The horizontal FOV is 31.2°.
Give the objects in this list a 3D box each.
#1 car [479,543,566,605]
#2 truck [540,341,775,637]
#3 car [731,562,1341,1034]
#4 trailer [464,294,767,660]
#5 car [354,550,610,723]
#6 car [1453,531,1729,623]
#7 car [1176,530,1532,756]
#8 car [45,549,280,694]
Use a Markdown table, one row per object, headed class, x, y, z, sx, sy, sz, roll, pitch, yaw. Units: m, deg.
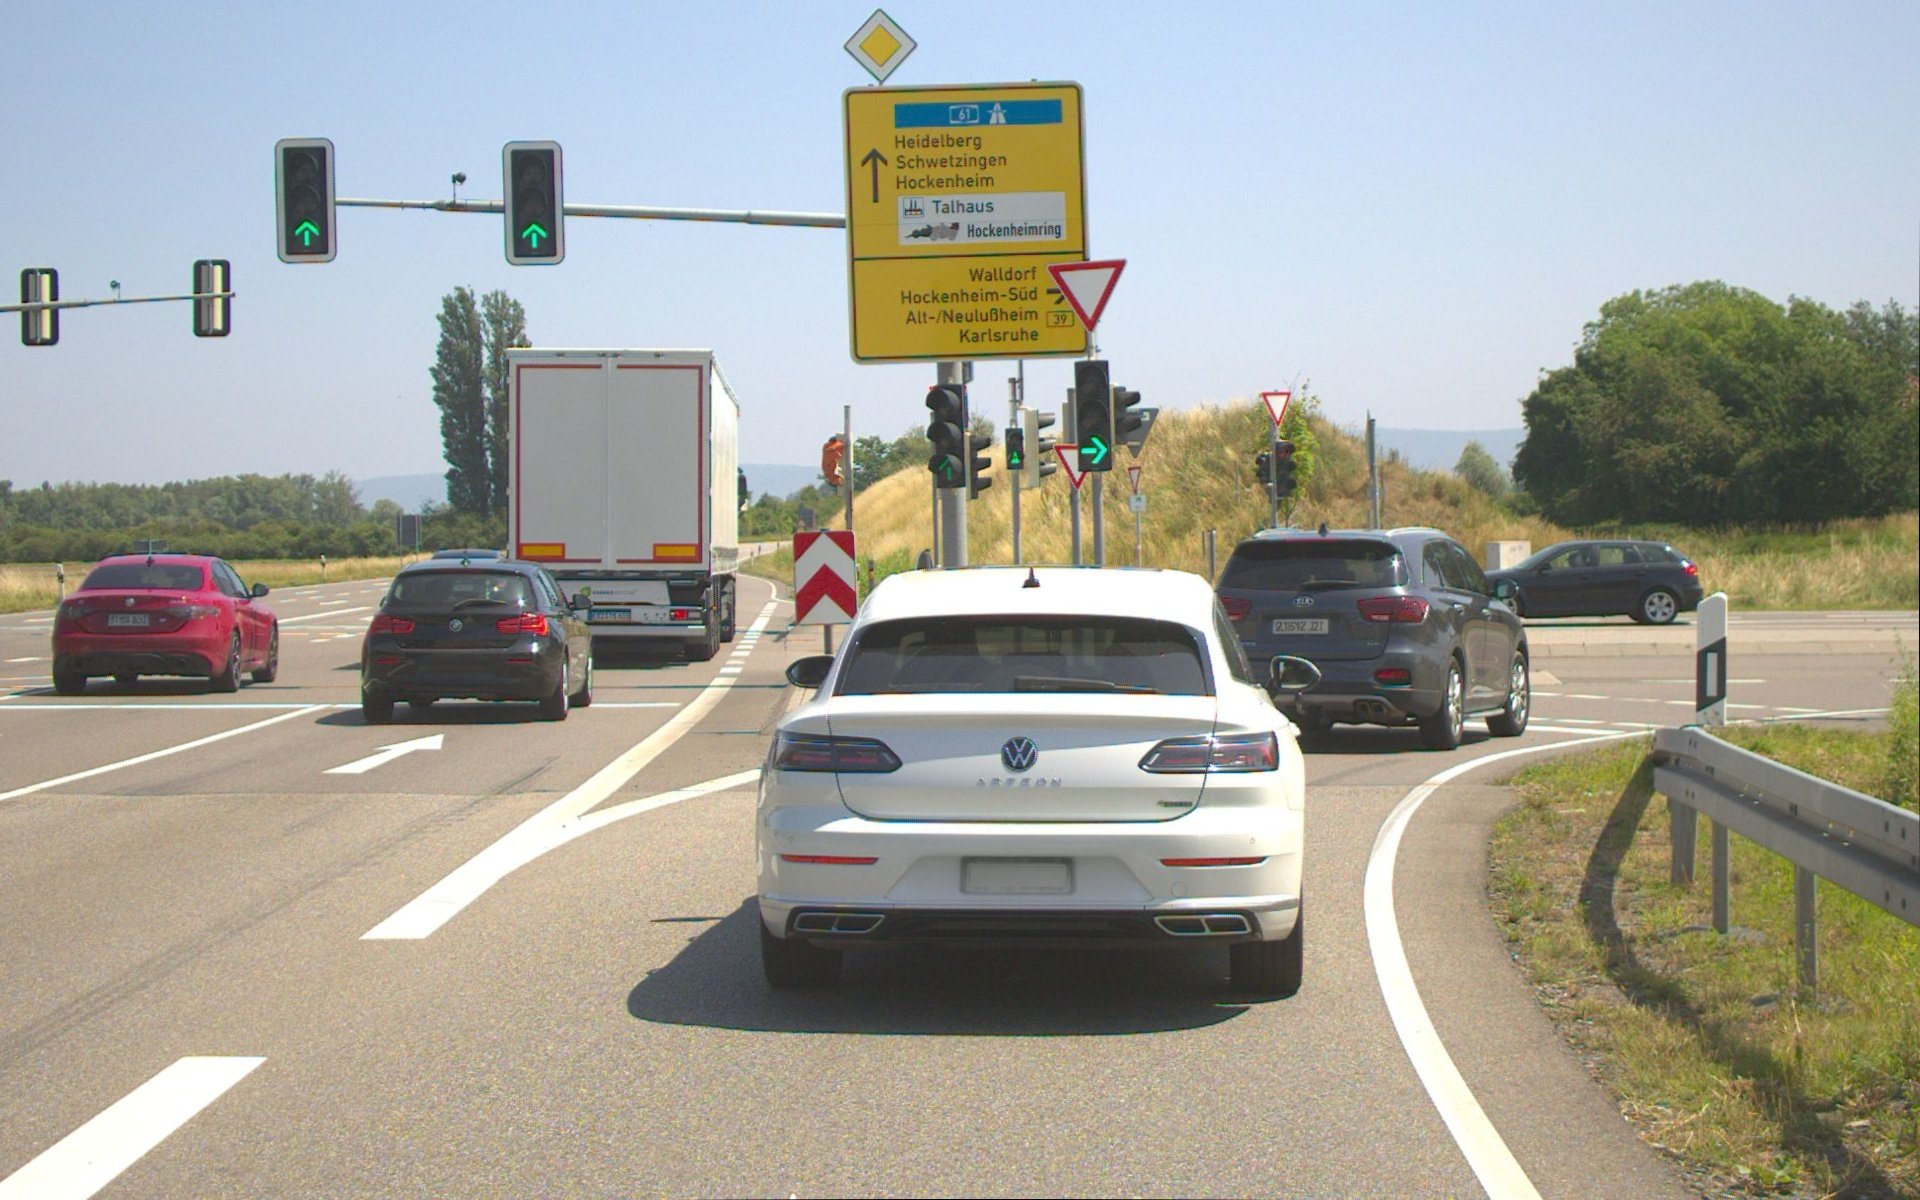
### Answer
| class | x | y | z | sx | sy | sz | roll | pitch | yaw |
| --- | --- | --- | --- | --- | --- | --- | --- | --- | --- |
| car | -10.792 | -0.649 | 84.997 | 1.809 | 1.488 | 4.022 | 0 | 1 | -3 |
| truck | -4.829 | -1.758 | 56.161 | 3.381 | 4.527 | 6.373 | 0 | 1 | -1 |
| car | 0.258 | 0.579 | 12.727 | 1.848 | 1.428 | 4.608 | 0 | 1 | 1 |
| trailer | -4.637 | -1.621 | 49.156 | 3.381 | 4.527 | 12.873 | 0 | 1 | -2 |
| car | -4.288 | 0.275 | 31.415 | 1.784 | 1.426 | 4.381 | 1 | 1 | -1 |
| car | 10.449 | -0.391 | 57.139 | 4.260 | 1.364 | 1.776 | -1 | 2 | 2 |
| car | 3.181 | 0.284 | 26.938 | 1.936 | 1.611 | 4.374 | 0 | 1 | 18 |
| car | -8.540 | 0.185 | 37.149 | 1.749 | 1.416 | 4.567 | 0 | 1 | -4 |
